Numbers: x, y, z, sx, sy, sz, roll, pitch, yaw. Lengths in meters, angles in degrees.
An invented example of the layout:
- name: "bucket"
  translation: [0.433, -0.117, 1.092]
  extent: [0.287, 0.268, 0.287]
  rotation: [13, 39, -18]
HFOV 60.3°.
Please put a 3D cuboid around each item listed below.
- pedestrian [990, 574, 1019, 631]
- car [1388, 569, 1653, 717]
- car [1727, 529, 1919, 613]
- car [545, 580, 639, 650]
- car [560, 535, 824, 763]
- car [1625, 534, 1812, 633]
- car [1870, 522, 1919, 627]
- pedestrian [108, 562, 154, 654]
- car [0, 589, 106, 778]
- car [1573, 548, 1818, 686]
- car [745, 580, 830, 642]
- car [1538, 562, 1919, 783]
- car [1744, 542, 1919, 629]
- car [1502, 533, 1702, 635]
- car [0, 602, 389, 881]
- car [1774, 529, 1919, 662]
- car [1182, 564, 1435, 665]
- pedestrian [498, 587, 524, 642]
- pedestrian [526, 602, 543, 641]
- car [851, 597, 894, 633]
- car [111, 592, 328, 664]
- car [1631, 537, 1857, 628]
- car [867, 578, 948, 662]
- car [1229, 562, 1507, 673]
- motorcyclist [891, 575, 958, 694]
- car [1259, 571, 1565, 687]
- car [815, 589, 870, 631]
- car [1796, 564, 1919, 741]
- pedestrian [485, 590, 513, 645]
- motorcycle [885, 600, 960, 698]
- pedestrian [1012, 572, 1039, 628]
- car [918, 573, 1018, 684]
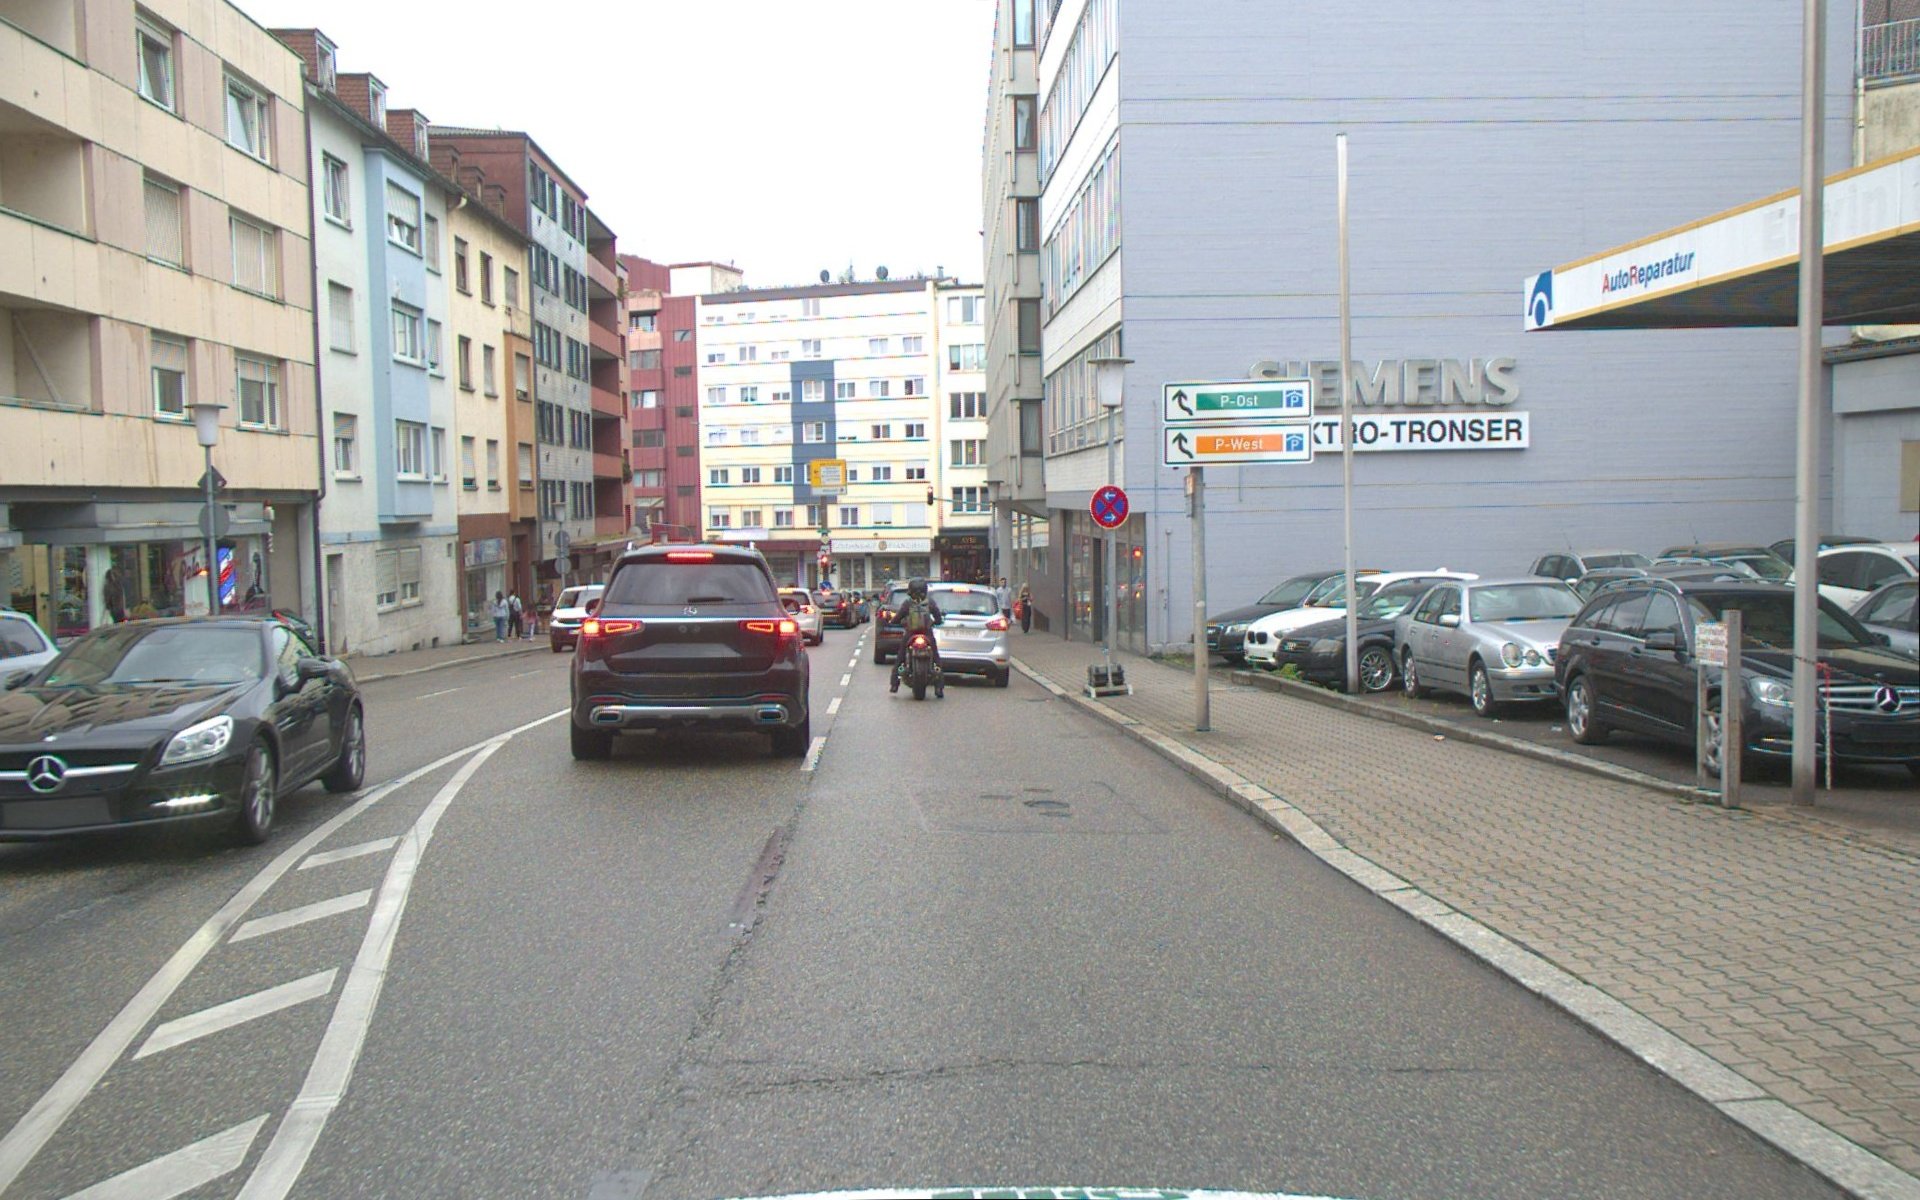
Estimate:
- name: "pedestrian"
  translation: [1.306, 0.074, 48.600]
  extent: [0.754, 1.639, 0.703]
  rotation: [-1, 2, -5]
- name: "car"
  translation: [6.291, 0.420, 19.025]
  extent: [1.534, 1.503, 4.068]
  rotation: [0, 1, -2]
- name: "car"
  translation: [15.204, -0.465, 29.274]
  extent: [1.424, 1.377, 3.348]
  rotation: [0, -1, -7]
- name: "car"
  translation: [-10.366, 0.371, 46.880]
  extent: [1.832, 1.783, 4.396]
  rotation: [-3, 1, -3]
- name: "car"
  translation: [-2.298, 0.368, 15.395]
  extent: [1.981, 1.770, 4.743]
  rotation: [1, 0, -4]
- name: "car"
  translation: [13.170, -0.250, 28.918]
  extent: [1.422, 1.625, 3.386]
  rotation: [0, -1, -7]
- name: "car"
  translation: [15.535, -0.394, 24.992]
  extent: [1.422, 1.625, 3.386]
  rotation: [0, -1, -7]
- name: "pedestrian"
  translation: [-16.410, 0.151, 32.751]
  extent: [0.587, 1.759, 0.571]
  rotation: [-1, 4, -5]
- name: "car"
  translation: [-8.816, 0.735, 13.272]
  extent: [1.710, 1.565, 4.639]
  rotation: [-3, 0, -4]
- name: "car"
  translation: [8.844, 0.213, 20.169]
  extent: [1.496, 1.539, 3.392]
  rotation: [0, -1, 0]
- name: "car"
  translation: [-4.523, 0.248, 43.892]
  extent: [1.847, 1.529, 4.398]
  rotation: [1, 1, -1]
- name: "car"
  translation: [6.419, 0.473, 13.561]
  extent: [1.760, 1.503, 4.485]
  rotation: [0, 1, -1]
- name: "car"
  translation: [13.542, -0.176, 25.064]
  extent: [1.422, 1.223, 3.386]
  rotation: [0, -1, -7]
- name: "car"
  translation: [11.015, -0.232, 28.660]
  extent: [1.613, 1.625, 3.861]
  rotation: [0, -1, -7]
- name: "car"
  translation: [-4.989, 0.737, 10.570]
  extent: [1.682, 1.340, 4.137]
  rotation: [-1, 1, -7]
- name: "car"
  translation: [11.682, -0.031, 20.207]
  extent: [1.521, 1.539, 3.516]
  rotation: [0, -1, -5]
- name: "car"
  translation: [5.951, 0.266, 28.292]
  extent: [3.930, 1.625, 1.788]
  rotation: [1, -1, -21]
- name: "pedestrian"
  translation: [-14.362, 0.463, 52.938]
  extent: [0.658, 1.680, 0.605]
  rotation: [-1, 4, -5]
- name: "pedestrian"
  translation: [-13.712, 0.685, 53.300]
  extent: [0.417, 1.182, 0.586]
  rotation: [-1, 4, -5]
- name: "car"
  translation: [-4.011, 0.676, 76.356]
  extent: [1.847, 1.529, 4.398]
  rotation: [1, 1, -1]
- name: "car"
  translation: [-16.072, 0.602, 36.060]
  extent: [3.908, 1.525, 1.797]
  rotation: [0, -1, -4]
- name: "car"
  translation: [11.412, -0.217, 24.319]
  extent: [1.422, 1.223, 3.386]
  rotation: [0, -1, -7]
- name: "car"
  translation: [-1.089, 0.358, 33.180]
  extent: [1.492, 1.575, 3.105]
  rotation: [0, 1, -4]
- name: "car"
  translation: [6.347, 0.287, 25.750]
  extent: [3.930, 1.625, 1.788]
  rotation: [1, -1, -21]
- name: "motorcyclist"
  translation: [-0.497, 0.470, 22.678]
  extent: [0.850, 1.587, 0.763]
  rotation: [-1, -1, -5]
- name: "car"
  translation: [6.334, 0.411, 23.199]
  extent: [3.930, 1.521, 1.722]
  rotation: [1, -1, -21]
- name: "car"
  translation: [-4.495, 0.349, 63.707]
  extent: [1.847, 1.529, 4.398]
  rotation: [1, 1, -1]
- name: "car"
  translation: [9.002, 0.439, 14.030]
  extent: [1.759, 1.503, 4.487]
  rotation: [0, 1, 3]
- name: "pedestrian"
  translation: [-14.510, 0.552, 52.075]
  extent: [0.725, 1.680, 0.605]
  rotation: [-1, 4, -5]
- name: "motorcycle"
  translation: [-0.543, 0.638, 22.697]
  extent: [0.850, 1.207, 2.559]
  rotation: [-1, 1, -5]
- name: "pedestrian"
  translation: [1.962, 0.005, 49.545]
  extent: [0.703, 1.639, 0.610]
  rotation: [-1, 2, -5]
- name: "car"
  translation: [0.090, 0.411, 26.949]
  extent: [1.388, 1.679, 3.105]
  rotation: [0, 1, -4]
